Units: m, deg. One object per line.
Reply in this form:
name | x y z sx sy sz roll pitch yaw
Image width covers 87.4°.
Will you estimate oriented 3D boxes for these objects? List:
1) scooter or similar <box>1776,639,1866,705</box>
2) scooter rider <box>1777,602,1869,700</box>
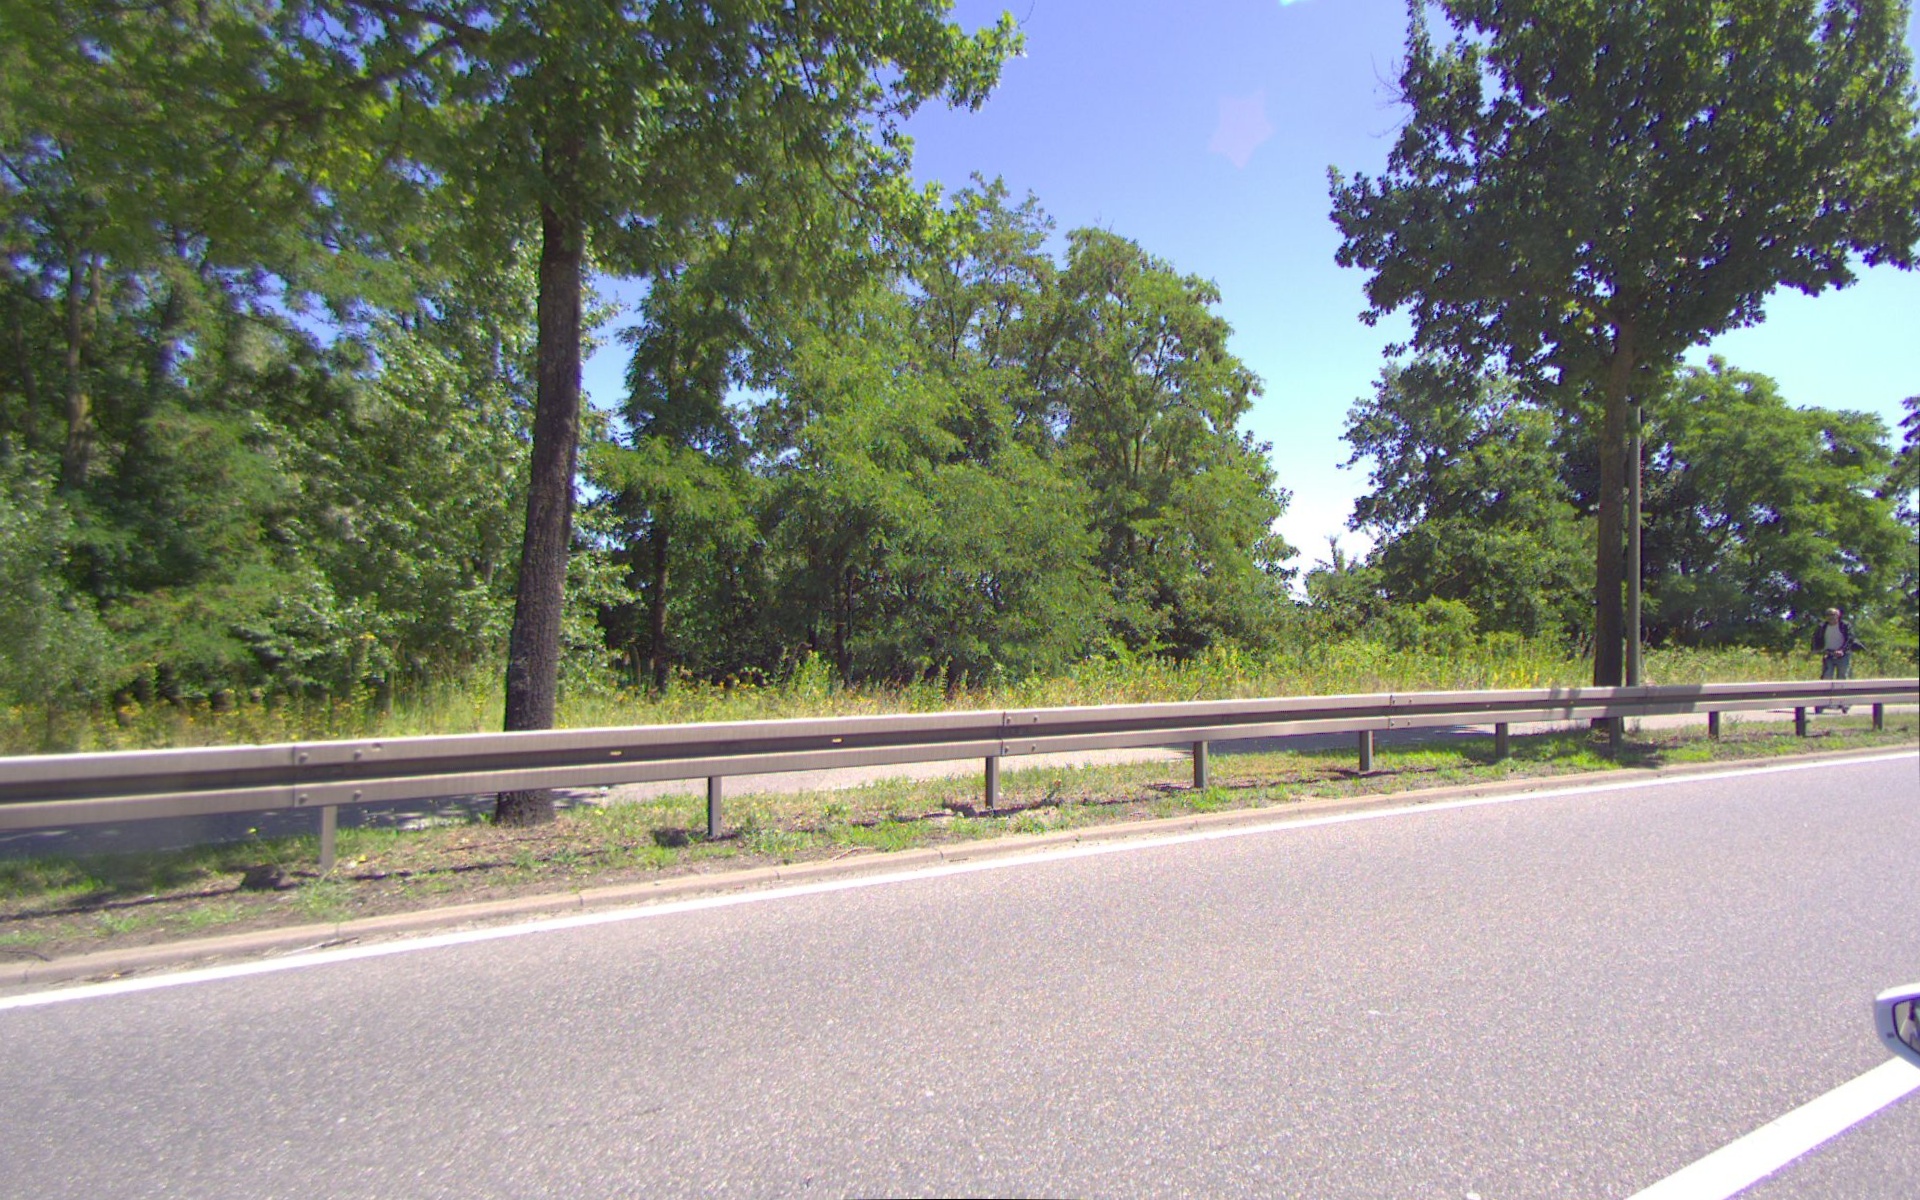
scooter or similar | 15.246 1.270 17.787 1.079 1.105 0.776 2 0 -21
scooter rider | 15.286 0.897 17.799 1.103 1.679 0.776 2 0 -20
